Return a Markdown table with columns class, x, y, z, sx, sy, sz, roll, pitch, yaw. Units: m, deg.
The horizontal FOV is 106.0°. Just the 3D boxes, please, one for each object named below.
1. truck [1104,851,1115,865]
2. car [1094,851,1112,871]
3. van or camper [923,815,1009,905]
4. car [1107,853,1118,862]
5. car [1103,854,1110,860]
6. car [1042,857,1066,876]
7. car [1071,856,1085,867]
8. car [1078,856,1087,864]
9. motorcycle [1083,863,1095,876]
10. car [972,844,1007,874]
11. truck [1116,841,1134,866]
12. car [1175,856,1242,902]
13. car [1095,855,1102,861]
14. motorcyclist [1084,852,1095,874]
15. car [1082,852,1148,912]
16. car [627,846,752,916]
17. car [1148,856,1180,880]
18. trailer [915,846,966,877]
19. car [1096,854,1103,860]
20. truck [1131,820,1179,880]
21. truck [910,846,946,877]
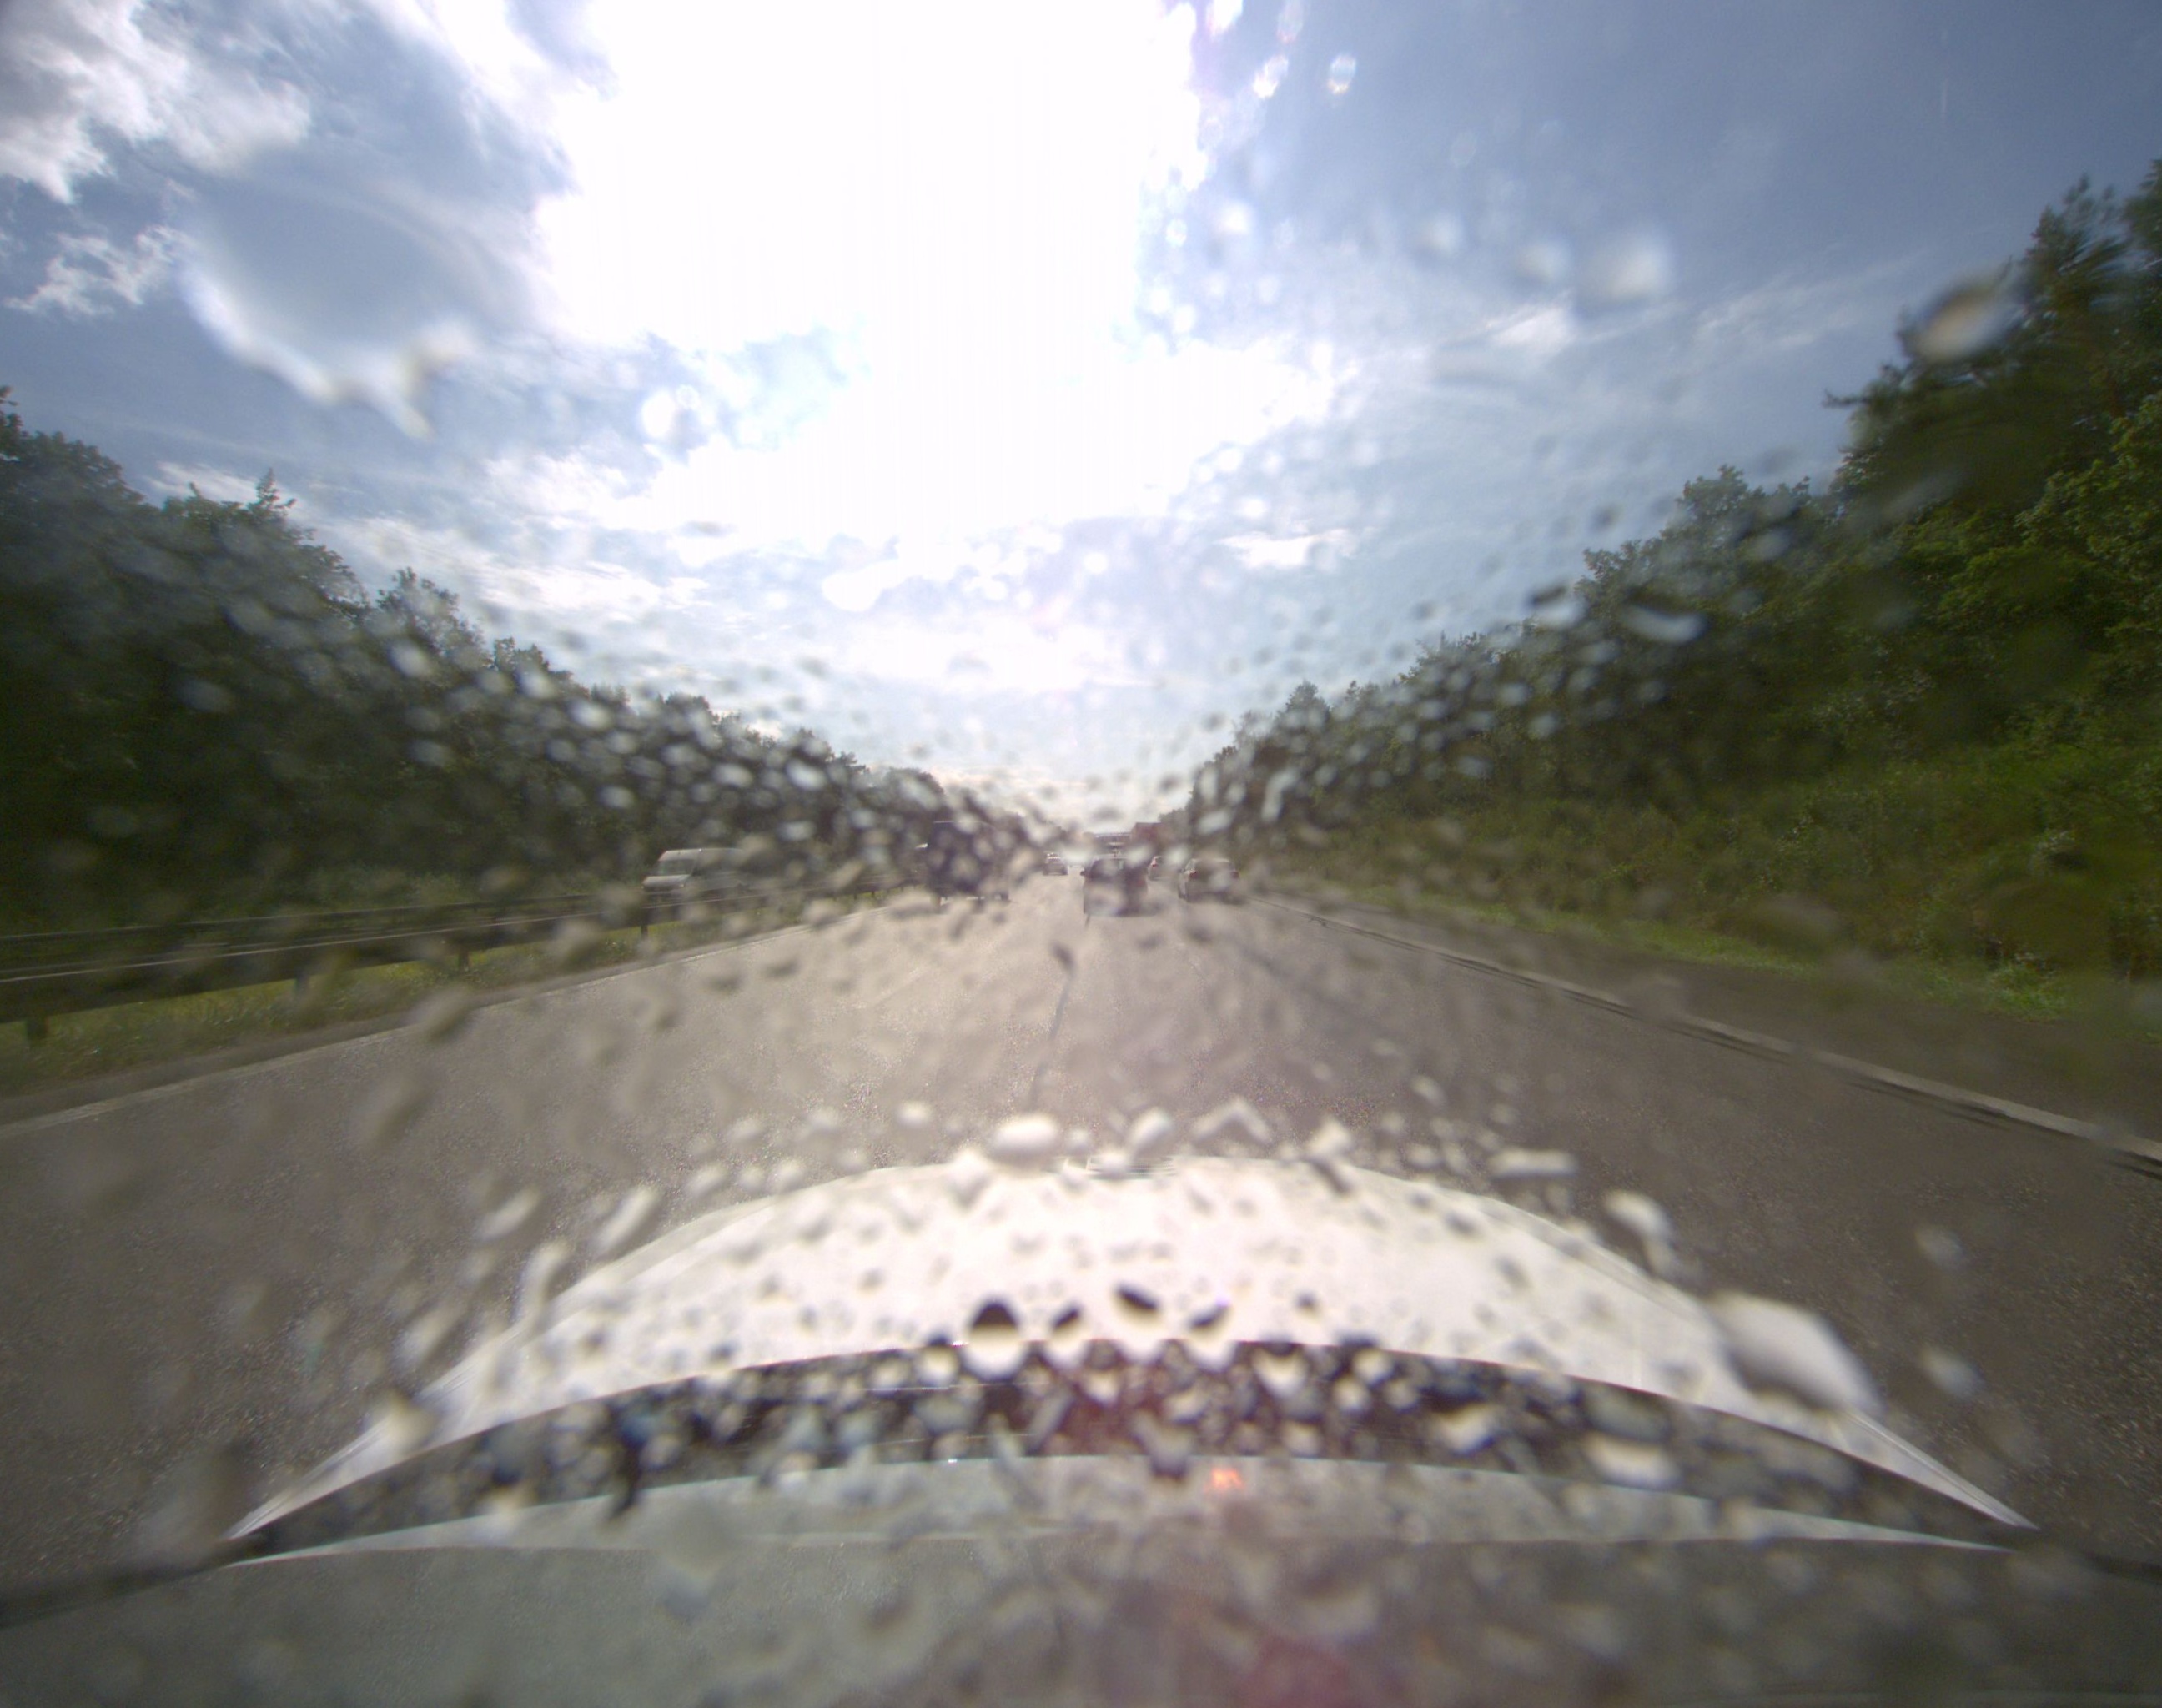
| class | x | y | z | sx | sy | sz | roll | pitch | yaw |
| --- | --- | --- | --- | --- | --- | --- | --- | --- | --- |
| truck | 5.873 | 0.757 | 170.725 | 2.184 | 2.875 | 4.850 | 0 | 0 | 1 |
| car | 1.938 | 0.641 | 72.391 | 1.526 | 1.746 | 3.485 | 0 | 0 | 1 |
| van or camper | -3.655 | 0.203 | 26.934 | 1.986 | 2.669 | 5.385 | 0 | 0 | 1 |
| car | 4.639 | 0.515 | 119.799 | 1.547 | 1.383 | 3.210 | 0 | 0 | 1 |
| car | 7.999 | 0.925 | 254.893 | 1.986 | 1.728 | 4.002 | -1 | 0 | 2 |
| car | -2.227 | 1.040 | 67.597 | 1.848 | 1.551 | 3.485 | 0 | 0 | 1 |
| car | -0.381 | 1.016 | 111.350 | 1.745 | 1.457 | 3.390 | 0 | 0 | 1 |
| car | 0.338 | 1.068 | 139.250 | 1.455 | 1.393 | 3.312 | 0 | 0 | 1 |
| motorcycle | 0.626 | 1.197 | 62.809 | 0.887 | 1.000 | 2.896 | 0 | 0 | 1 |
| car | -7.556 | 0.412 | 67.871 | 2.175 | 2.452 | 5.749 | 0 | 0 | 1 |
| truck | 8.145 | -0.088 | 150.741 | 3.243 | 4.479 | 12.429 | 0 | 0 | 3 |
| car | 4.283 | 0.807 | 27.888 | 1.686 | 1.425 | 4.221 | 0 | 0 | 1 |
| car | 4.046 | 0.997 | 191.636 | 1.544 | 1.267 | 3.485 | 0 | 0 | 1 |
| motorcyclist | 0.637 | 0.681 | 62.769 | 0.799 | 1.633 | 1.013 | 0 | -1 | 1 |
| car | 0.930 | 0.739 | 23.035 | 1.711 | 1.568 | 3.485 | 0 | 0 | 1 |
| car | -17.547 | 1.122 | 37.066 | 2.255 | 2.870 | 6.932 | 0 | 0 | 1 |
| car | 5.115 | 0.837 | 50.758 | 1.674 | 1.442 | 3.905 | 0 | 0 | 1 |
| trailer | -18.982 | 1.017 | 111.926 | 2.978 | 3.831 | 17.965 | 0 | 0 | 3 |
| car | 5.300 | 0.797 | 234.799 | 1.986 | 1.701 | 4.001 | -2 | 0 | 1 |
| truck | 6.363 | -0.305 | 72.842 | 3.635 | 4.720 | 16.790 | 0 | 0 | 3 |
| truck | -19.440 | 0.972 | 103.753 | 2.978 | 3.831 | 6.869 | 0 | 0 | 3 |
